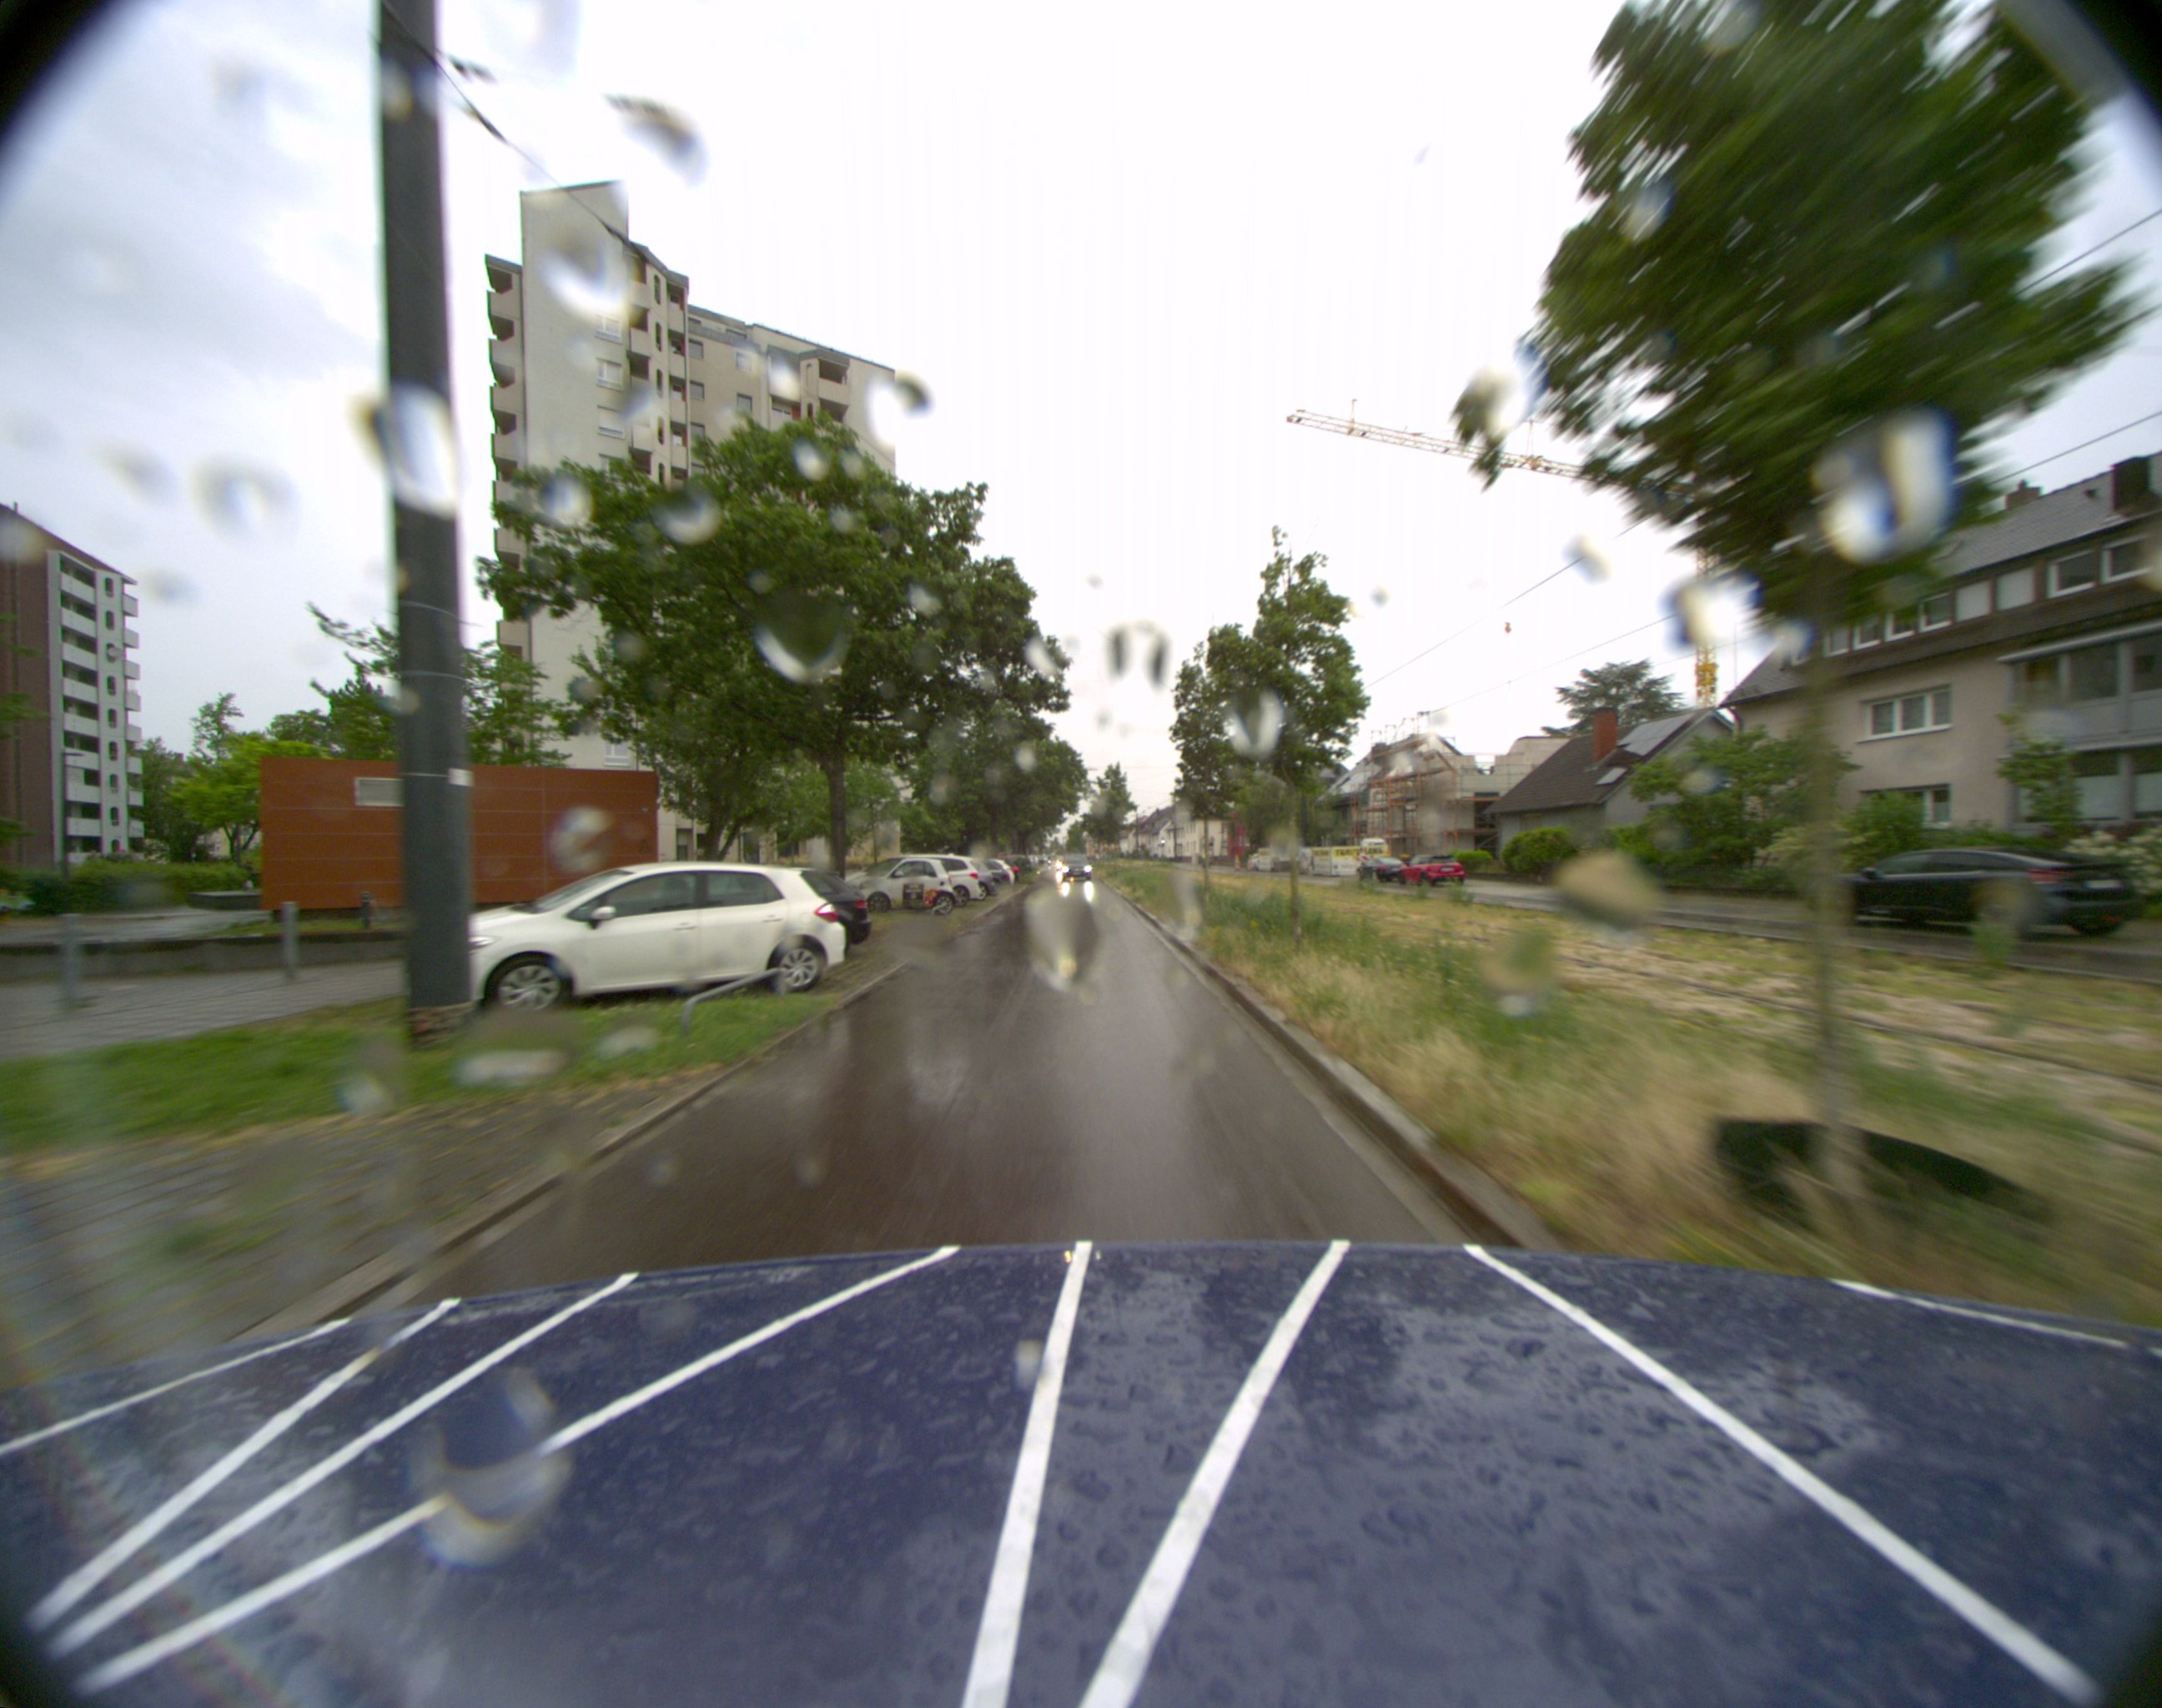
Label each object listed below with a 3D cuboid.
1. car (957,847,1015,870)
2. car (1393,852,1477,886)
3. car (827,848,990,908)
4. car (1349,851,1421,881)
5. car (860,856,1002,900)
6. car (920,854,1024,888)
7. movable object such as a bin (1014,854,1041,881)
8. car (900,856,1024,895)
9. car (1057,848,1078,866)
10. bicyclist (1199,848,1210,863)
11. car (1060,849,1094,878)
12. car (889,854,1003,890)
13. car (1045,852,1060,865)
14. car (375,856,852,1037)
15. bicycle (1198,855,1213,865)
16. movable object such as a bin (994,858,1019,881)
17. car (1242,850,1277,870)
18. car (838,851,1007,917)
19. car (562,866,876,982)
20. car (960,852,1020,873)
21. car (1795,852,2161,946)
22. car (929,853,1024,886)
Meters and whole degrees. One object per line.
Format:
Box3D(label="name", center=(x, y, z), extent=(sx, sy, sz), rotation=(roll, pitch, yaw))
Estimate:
Box3D(label="car", center=(-7.332, 0.318, 58.831), extent=(4.054, 1.676, 1.720), rotation=(-2, 1, -36))
Box3D(label="car", center=(16.147, 0.645, 34.923), extent=(1.999, 1.365, 3.842), rotation=(-2, 1, -1))
Box3D(label="car", center=(-5.170, 0.720, 23.141), extent=(4.471, 1.661, 1.808), rotation=(2, -1, -39))
Box3D(label="car", center=(15.910, 0.640, 39.969), extent=(1.999, 1.401, 4.174), rotation=(-2, -1, -1))
Box3D(label="car", center=(-5.150, 0.857, 26.396), extent=(4.470, 1.401, 1.763), rotation=(2, -1, -34))
Box3D(label="car", center=(-5.104, 0.800, 35.723), extent=(4.470, 1.456, 1.815), rotation=(2, -1, -34))
Box3D(label="movable object such as a bin", center=(-3.231, 0.810, 45.493), extent=(1.165, 1.553, 1.372), rotation=(-2, 2, -23))
Box3D(label="car", center=(-4.638, 0.869, 29.827), extent=(4.470, 1.419, 1.680), rotation=(2, -1, -34))
Box3D(label="car", center=(-1.366, 0.292, 79.397), extent=(1.998, 1.762, 3.999), rotation=(-2, 1, 1))
Box3D(label="bicyclist", center=(13.498, 0.130, 83.213), extent=(0.956, 1.575, 1.400), rotation=(-2, 1, -1))
Box3D(label="car", center=(-0.246, 0.560, 48.250), extent=(1.999, 1.611, 3.999), rotation=(-2, 1, -1))
Box3D(label="car", center=(-5.742, 0.800, 32.700), extent=(4.471, 1.419, 1.805), rotation=(2, -1, -38))
Box3D(label="car", center=(-4.199, 0.654, 113.394), extent=(1.998, 1.696, 3.999), rotation=(-2, 1, 1))
Box3D(label="car", center=(-4.960, 0.857, 8.513), extent=(4.195, 1.538, 1.760), rotation=(2, -1, -40))
Box3D(label="bicycle", center=(13.528, 0.649, 82.704), extent=(0.937, 1.037, 3.433), rotation=(0, 0, -2))
Box3D(label="movable object such as a bin", center=(-4.470, 0.916, 45.432), extent=(0.999, 1.305, 1.183), rotation=(-3, 2, -38))
Box3D(label="car", center=(16.600, 0.535, 70.834), extent=(1.999, 1.618, 4.249), rotation=(-2, 1, -3))
Box3D(label="car", center=(-4.284, 0.806, 20.903), extent=(4.194, 1.661, 1.680), rotation=(2, -1, -37))
Box3D(label="car", center=(-5.298, 0.949, 11.352), extent=(3.953, 1.423, 1.680), rotation=(2, -1, -37))
Box3D(label="car", center=(-6.675, 0.635, 55.768), extent=(4.055, 1.479, 1.720), rotation=(2, -1, -36))
Box3D(label="car", center=(16.071, 0.722, 14.009), extent=(1.841, 1.418, 4.174), rotation=(-2, 0, -1))
Box3D(label="car", center=(-5.326, 0.787, 38.868), extent=(4.469, 1.533, 1.680), rotation=(2, 1, -32))
